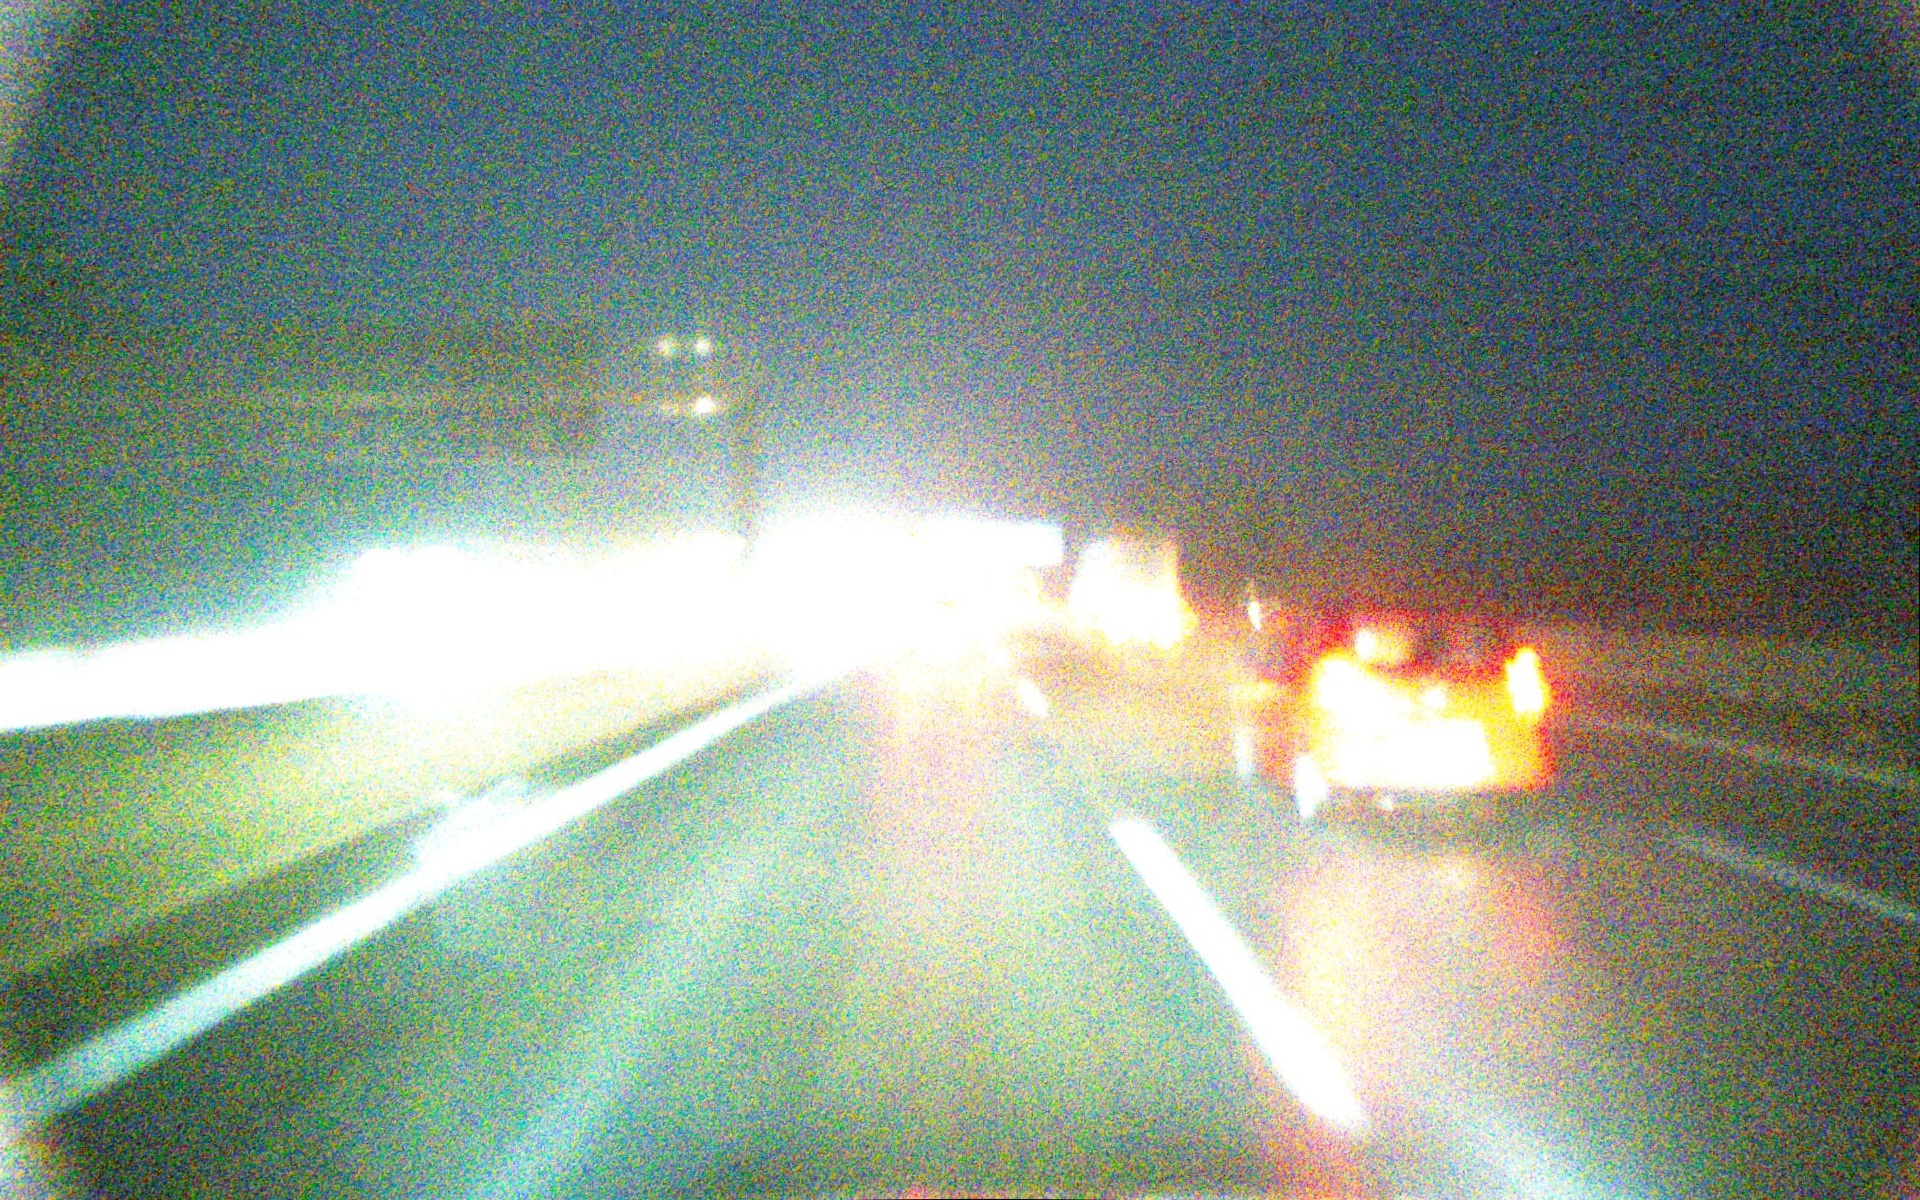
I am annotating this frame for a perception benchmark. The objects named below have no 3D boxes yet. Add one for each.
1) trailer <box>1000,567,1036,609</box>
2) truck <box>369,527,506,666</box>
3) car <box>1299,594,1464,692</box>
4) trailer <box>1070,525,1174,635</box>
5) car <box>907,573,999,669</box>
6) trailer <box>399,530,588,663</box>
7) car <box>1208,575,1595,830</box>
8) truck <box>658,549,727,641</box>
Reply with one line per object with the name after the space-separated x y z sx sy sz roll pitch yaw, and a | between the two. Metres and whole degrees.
6.432 -1.229 184.994 2.980 4.181 13.821 -2 -1 -2 | trailer
-17.003 -0.114 54.185 2.635 4.295 5.734 1 0 0 | truck
7.079 0.681 28.159 1.607 1.529 4.011 -1 0 -3 | car
6.776 -0.690 71.344 2.844 4.180 14.484 -1 -1 -1 | trailer
-0.213 0.429 37.292 1.953 2.049 3.999 0 0 -2 | car
-17.026 -0.118 61.933 2.635 4.295 15.642 1 0 0 | trailer
3.127 0.683 12.694 1.705 1.603 4.493 0 -1 -1 | car
-13.523 -0.235 83.907 2.636 4.458 5.733 1 0 -2 | truck
